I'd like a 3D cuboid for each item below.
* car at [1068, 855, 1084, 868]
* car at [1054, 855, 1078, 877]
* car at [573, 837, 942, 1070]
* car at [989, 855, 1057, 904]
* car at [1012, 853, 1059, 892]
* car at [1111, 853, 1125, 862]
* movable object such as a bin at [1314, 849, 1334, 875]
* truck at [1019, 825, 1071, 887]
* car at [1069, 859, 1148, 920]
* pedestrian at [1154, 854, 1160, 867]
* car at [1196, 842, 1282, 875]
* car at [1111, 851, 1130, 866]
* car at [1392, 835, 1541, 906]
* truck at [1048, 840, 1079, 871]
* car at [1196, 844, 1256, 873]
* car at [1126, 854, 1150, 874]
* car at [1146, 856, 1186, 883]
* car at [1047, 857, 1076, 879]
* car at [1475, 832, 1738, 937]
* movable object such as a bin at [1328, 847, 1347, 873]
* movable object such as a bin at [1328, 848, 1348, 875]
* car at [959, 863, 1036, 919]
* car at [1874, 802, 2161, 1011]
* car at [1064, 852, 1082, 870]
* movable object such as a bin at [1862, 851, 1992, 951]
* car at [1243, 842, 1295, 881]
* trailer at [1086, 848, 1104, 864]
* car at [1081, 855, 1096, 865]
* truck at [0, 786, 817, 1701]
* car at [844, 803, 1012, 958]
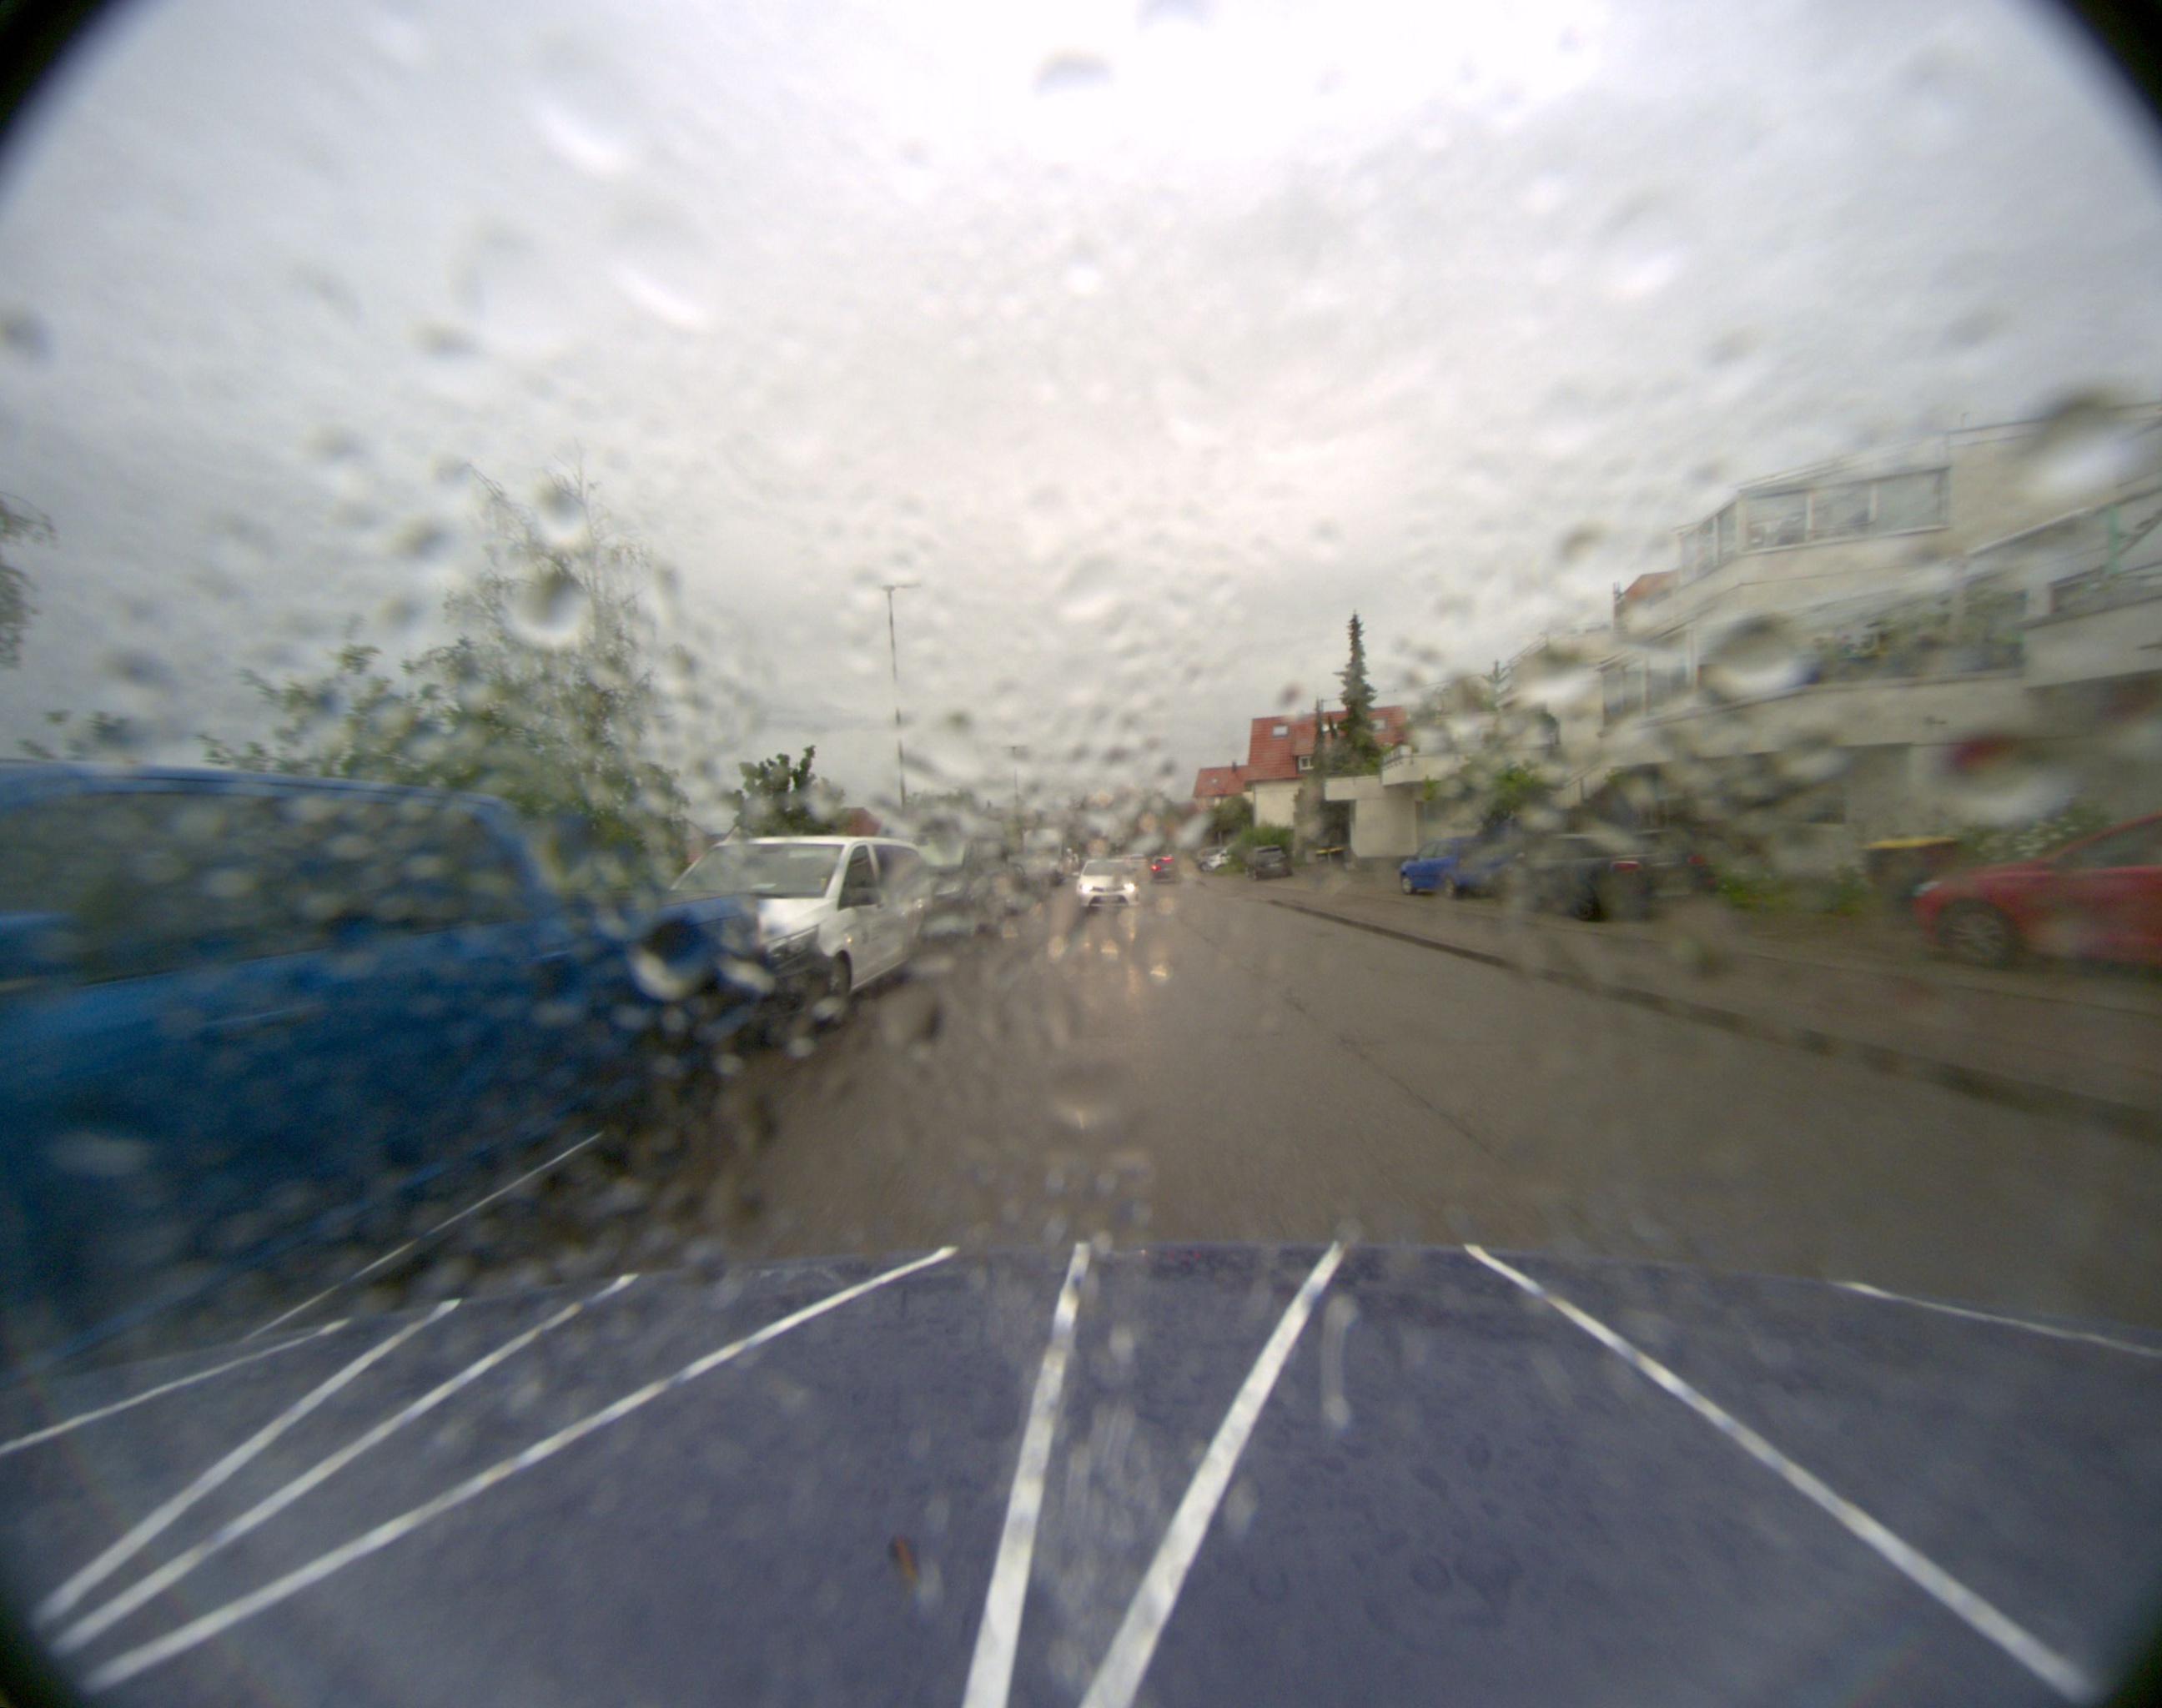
[{"bbox_3d":[-0.637,0.930,97.344,1.820,1.498,4.724,-1,1,2],"label":"car"},{"bbox_3d":[-1.154,0.899,60.270,1.764,1.595,4.666,-1,1,1],"label":"car"},{"bbox_3d":[-3.069,0.795,8.705,1.831,1.831,5.270,-1,0,1],"label":"car"},{"bbox_3d":[-2.083,0.887,28.686,1.941,1.662,4.695,-1,0,3],"label":"car"},{"bbox_3d":[-2.171,0.855,37.707,1.850,1.674,5.638,-1,1,1],"label":"car"},{"bbox_3d":[6.858,0.639,139.587,1.635,1.448,3.705,-1,1,18],"label":"car"},{"bbox_3d":[11.050,0.356,34.546,0.725,1.064,0.850,-7,1,19],"label":"movable object such as a bin"},{"bbox_3d":[-2.017,0.086,45.329,2.442,3.316,7.965,-1,1,1],"label":"truck"},{"bbox_3d":[0.763,0.904,21.097,1.863,1.369,4.181,-4,0,2],"label":"car"},{"bbox_3d":[9.589,0.831,95.757,0.718,1.625,0.707,-2,1,3],"label":"pedestrian"},{"bbox_3d":[9.955,0.258,47.753,5.091,1.933,2.144,-1,1,18],"label":"car"},{"bbox_3d":[4.521,0.503,85.917,1.910,1.598,4.430,-3,0,5],"label":"car"},{"bbox_3d":[9.385,0.381,18.885,1.611,1.425,3.959,-6,0,1],"label":"car"},{"bbox_3d":[-1.485,0.109,68.211,2.244,2.616,6.539,-1,1,3],"label":"truck"},{"bbox_3d":[10.642,0.298,55.780,4.061,1.682,1.895,-6,0,15],"label":"car"},{"bbox_3d":[4.649,0.823,62.447,1.803,1.558,4.384,-1,0,2],"label":"car"},{"bbox_3d":[4.713,0.825,42.522,1.778,1.429,4.362,1,0,1],"label":"car"},{"bbox_3d":[-1.371,0.984,54.950,1.836,1.429,4.986,-1,1,1],"label":"car"},{"bbox_3d":[8.835,0.452,13.305,1.637,1.388,4.239,-6,0,2],"label":"car"},{"bbox_3d":[11.597,0.284,34.349,0.725,1.064,0.767,-7,1,19],"label":"movable object such as a bin"},{"bbox_3d":[11.342,0.310,33.482,0.725,1.064,0.767,-7,1,19],"label":"movable object such as a bin"},{"bbox_3d":[-2.341,1.013,22.180,1.593,1.421,3.798,-1,0,3],"label":"car"},{"bbox_3d":[8.841,0.356,5.296,1.778,1.429,4.588,-7,0,2],"label":"car"},{"bbox_3d":[-0.932,0.767,86.192,1.853,1.871,4.909,-1,1,-1],"label":"car"},{"bbox_3d":[9.749,0.520,8.787,0.641,1.077,0.752,-3,0,7],"label":"movable object such as a bin"},{"bbox_3d":[9.268,0.348,37.759,1.693,1.579,4.198,-9,-1,5],"label":"car"},{"bbox_3d":[2.282,0.305,125.199,1.952,2.442,5.438,-1,1,11],"label":"trailer"},{"bbox_3d":[1.152,0.883,113.723,1.796,1.451,4.791,-1,0,7],"label":"car"},{"bbox_3d":[-3.265,0.847,2.726,2.119,1.841,6.618,-4,0,1],"label":"truck"},{"bbox_3d":[-2.784,0.431,15.473,2.036,2.491,5.956,-1,0,1],"label":"car"}]
